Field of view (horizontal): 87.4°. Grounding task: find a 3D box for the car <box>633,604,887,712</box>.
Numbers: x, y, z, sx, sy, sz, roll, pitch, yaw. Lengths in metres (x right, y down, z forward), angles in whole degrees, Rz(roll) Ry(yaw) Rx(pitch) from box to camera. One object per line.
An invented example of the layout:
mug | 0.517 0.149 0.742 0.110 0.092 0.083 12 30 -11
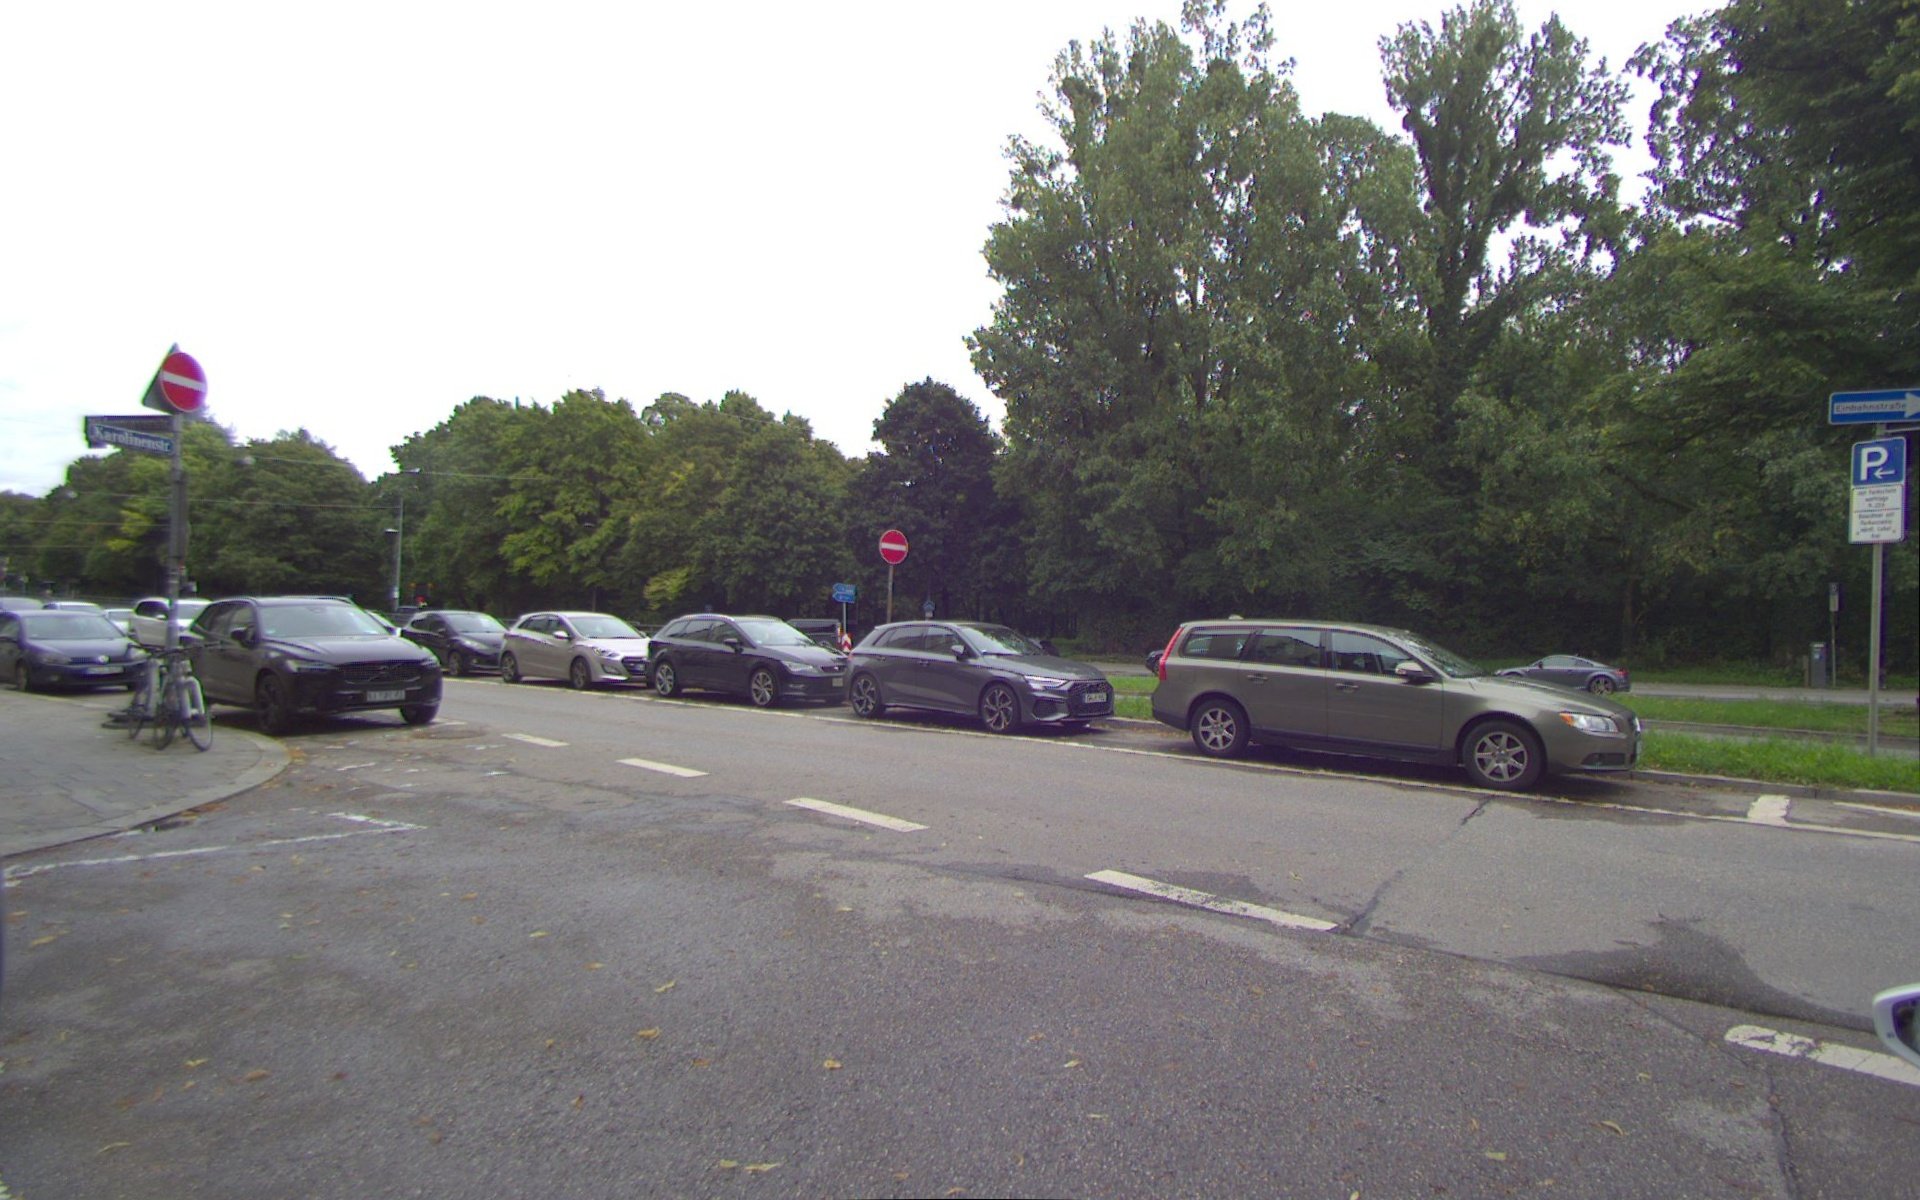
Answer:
car | -3.497 0.913 17.237 4.215 1.586 1.986 0 -2 38

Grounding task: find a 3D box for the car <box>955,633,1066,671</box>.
car | 2.212 2.276 44.024 4.446 1.465 1.996 1 -3 32

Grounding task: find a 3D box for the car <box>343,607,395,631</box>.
car | -44.593 1.426 75.751 3.934 1.769 1.861 1 -1 35

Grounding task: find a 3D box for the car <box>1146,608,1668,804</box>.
car | 4.517 0.927 10.615 4.700 1.586 1.896 0 -2 41

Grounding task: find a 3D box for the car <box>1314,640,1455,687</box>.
car | 15.284 2.255 36.202 4.446 1.465 1.996 1 -3 32

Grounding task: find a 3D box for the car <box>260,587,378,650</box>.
car | -27.924 0.777 43.688 5.752 2.496 2.185 2 -1 34

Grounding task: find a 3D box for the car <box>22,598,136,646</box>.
car | -33.605 0.845 38.287 4.481 1.725 2.071 0 -2 33

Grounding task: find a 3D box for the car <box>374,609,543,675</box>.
car | -11.885 0.948 23.713 4.212 1.388 1.762 1 -2 35

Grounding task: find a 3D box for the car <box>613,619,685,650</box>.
car | -17.945 1.952 57.856 3.933 1.578 1.907 2 -1 34

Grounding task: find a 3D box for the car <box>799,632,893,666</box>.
car | -5.598 2.387 49.181 4.242 1.465 1.996 1 -3 31

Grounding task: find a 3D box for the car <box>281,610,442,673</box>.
car | -15.963 1.074 26.760 4.209 1.475 1.989 1 -2 33

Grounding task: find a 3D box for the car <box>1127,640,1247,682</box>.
car | 9.050 2.399 40.031 4.242 1.465 1.996 1 -3 31

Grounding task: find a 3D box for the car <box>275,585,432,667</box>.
car | -16.286 0.673 26.950 3.931 2.040 1.995 1 -1 32

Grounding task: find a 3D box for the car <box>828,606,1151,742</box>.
car | 0.317 0.918 14.063 4.219 1.586 1.984 0 -2 41

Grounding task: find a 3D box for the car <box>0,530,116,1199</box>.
car | -4.353 0.587 2.835 4.172 1.586 1.822 1 -1 33

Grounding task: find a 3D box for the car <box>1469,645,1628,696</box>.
car | 19.478 2.297 33.372 4.446 1.465 1.996 1 -3 32

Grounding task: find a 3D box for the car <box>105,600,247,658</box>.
car | -25.690 0.933 32.874 5.002 1.725 2.071 1 -1 33

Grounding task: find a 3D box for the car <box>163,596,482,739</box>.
car | -8.560 0.765 13.370 4.434 1.586 2.123 0 -1 36

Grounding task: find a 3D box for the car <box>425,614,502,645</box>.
car | -25.513 1.493 51.578 3.937 1.465 1.992 0 -2 38

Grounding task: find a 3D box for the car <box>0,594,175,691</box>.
car | -16.757 0.703 18.707 4.432 1.586 2.125 1 0 34

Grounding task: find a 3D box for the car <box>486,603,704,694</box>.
car | -7.285 0.900 19.934 4.212 1.586 1.987 1 -2 35

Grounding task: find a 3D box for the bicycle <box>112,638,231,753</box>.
bicycle | -8.128 0.942 10.330 1.710 1.051 0.630 0 -2 41
